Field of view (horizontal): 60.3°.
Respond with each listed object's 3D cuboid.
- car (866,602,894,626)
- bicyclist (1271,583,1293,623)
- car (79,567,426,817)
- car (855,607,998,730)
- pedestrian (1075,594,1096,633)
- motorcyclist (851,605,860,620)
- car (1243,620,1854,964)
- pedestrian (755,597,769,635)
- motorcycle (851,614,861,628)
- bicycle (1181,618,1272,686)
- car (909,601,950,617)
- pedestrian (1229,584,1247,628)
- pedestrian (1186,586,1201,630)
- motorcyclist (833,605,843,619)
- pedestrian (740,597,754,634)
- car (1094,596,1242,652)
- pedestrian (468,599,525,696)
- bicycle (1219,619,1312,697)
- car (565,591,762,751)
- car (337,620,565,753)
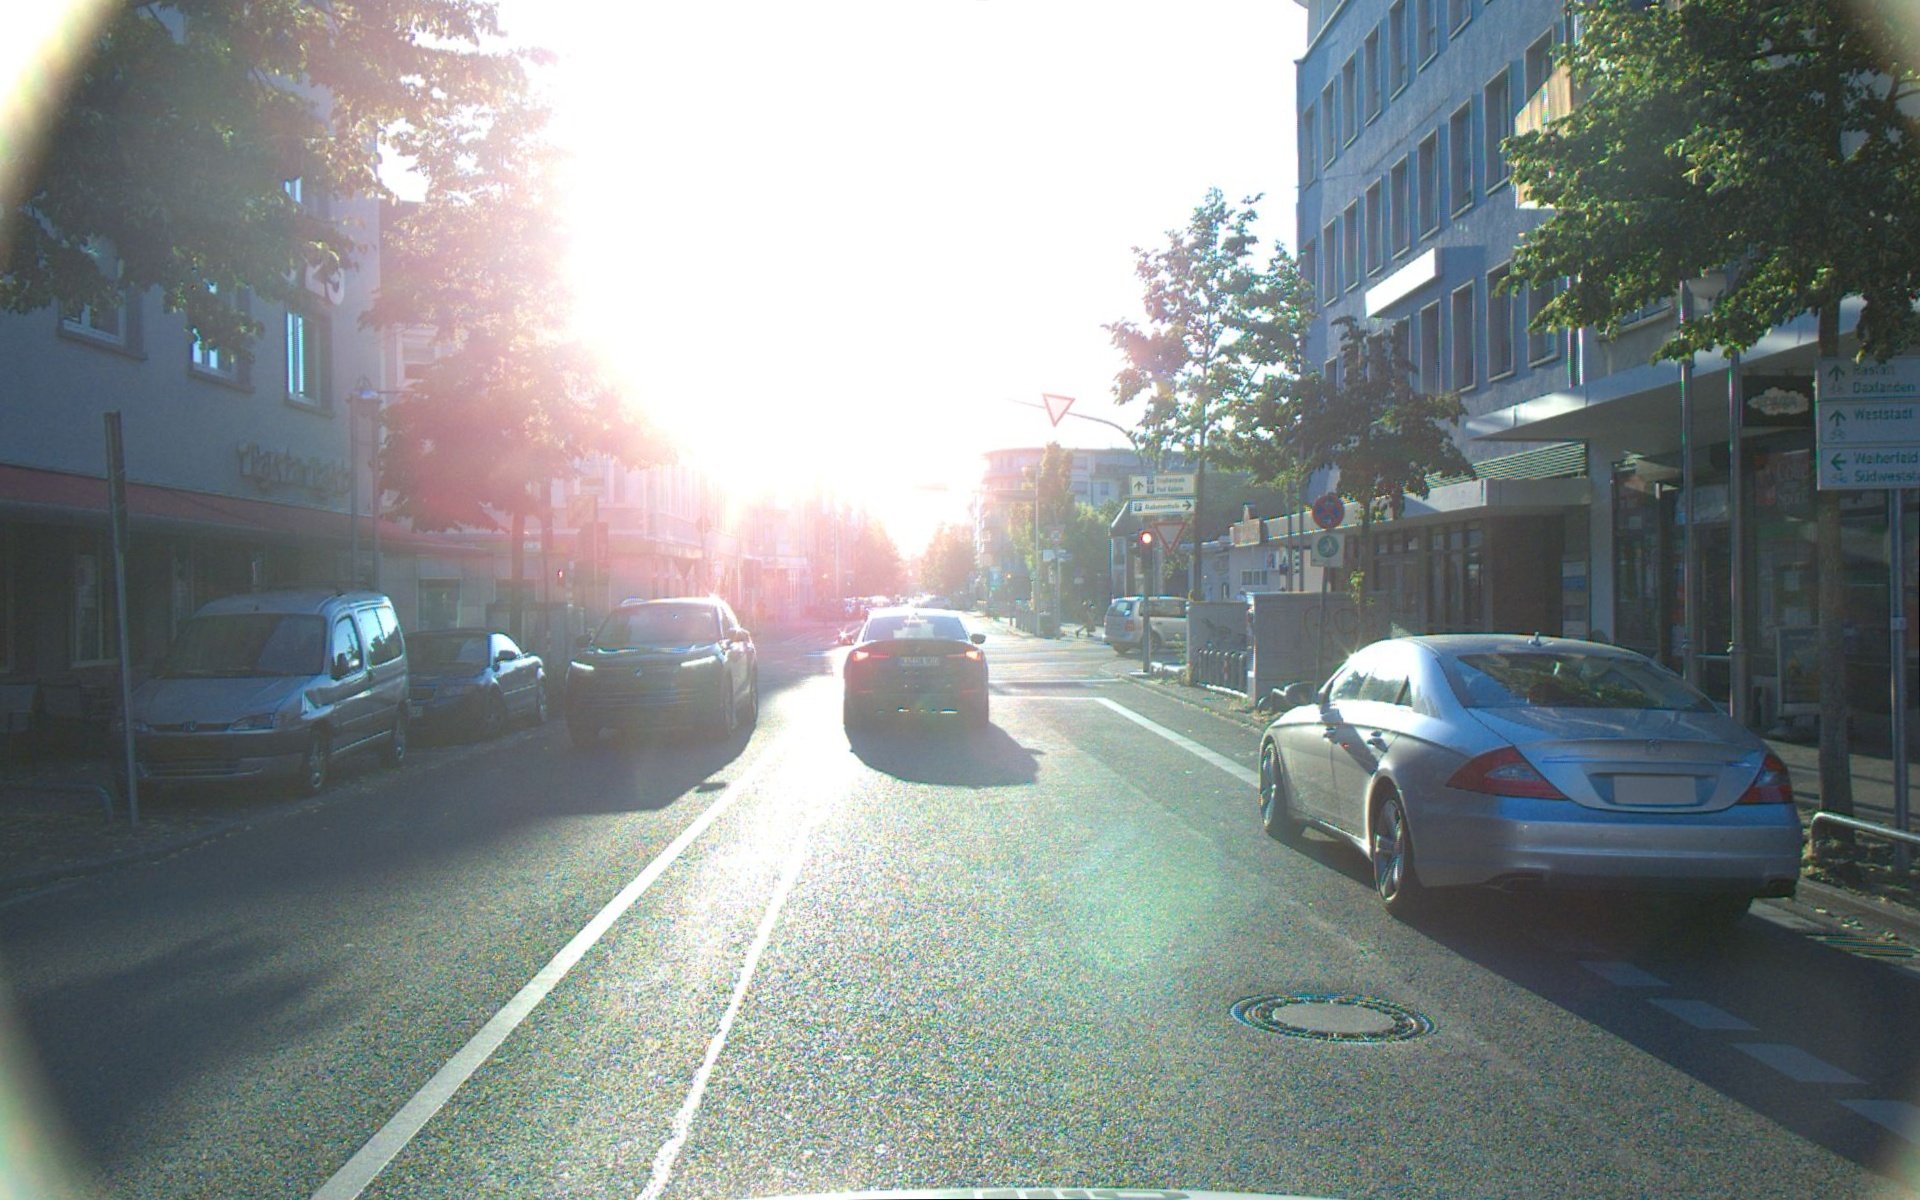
[{"bbox_3d":[-5.362,0.916,111.189,1.781,1.545,3.999,-1,0,-1],"label":"car"},{"bbox_3d":[12.275,0.131,63.096,0.706,1.507,0.551,0,-1,28],"label":"bicyclist"},{"bbox_3d":[-6.321,0.747,15.290,1.636,1.920,4.050,-3,0,-4],"label":"car"},{"bbox_3d":[-0.480,0.826,21.814,1.702,1.454,4.221,0,0,-2],"label":"car"},{"bbox_3d":[5.099,0.557,67.376,0.720,1.556,0.470,1,-1,-15],"label":"pedestrian"},{"bbox_3d":[-6.970,0.853,110.706,0.563,1.013,0.702,1,0,-1],"label":"motorcyclist"},{"bbox_3d":[2.981,0.873,9.551,1.707,1.425,4.637,1,0,-2],"label":"car"},{"bbox_3d":[-10.249,0.830,85.691,0.663,1.909,0.617,1,-1,-2],"label":"pedestrian"},{"bbox_3d":[-6.966,1.394,110.716,0.563,0.931,2.200,1,0,-1],"label":"motorcycle"},{"bbox_3d":[4.826,0.939,29.944,1.579,1.191,0.318,-1,0,0],"label":"bicycle"},{"bbox_3d":[-3.196,0.940,174.794,3.952,1.545,1.802,-1,0,-34],"label":"car"},{"bbox_3d":[11.159,0.240,66.312,0.472,1.765,0.527,1,-1,-26],"label":"pedestrian"},{"bbox_3d":[9.398,0.331,66.558,0.436,1.765,0.430,1,-1,-26],"label":"pedestrian"},{"bbox_3d":[-8.221,0.834,111.375,0.563,0.931,2.200,1,0,-1],"label":"motorcyclist"},{"bbox_3d":[-11.022,0.816,85.491,0.630,1.909,0.632,1,-1,-2],"label":"pedestrian"},{"bbox_3d":[6.100,0.679,48.527,3.926,1.559,1.794,-1,0,-19],"label":"car"},{"bbox_3d":[-9.310,0.942,33.215,0.987,1.893,0.636,-2,0,-22],"label":"pedestrian"},{"bbox_3d":[4.944,0.936,26.799,1.411,1.241,0.383,1,-1,0],"label":"bicycle"},{"bbox_3d":[-3.502,0.767,20.225,1.695,1.704,4.294,-1,0,-1],"label":"car"},{"bbox_3d":[-6.446,1.033,21.425,1.688,1.440,4.278,-3,-1,-2],"label":"car"}]
